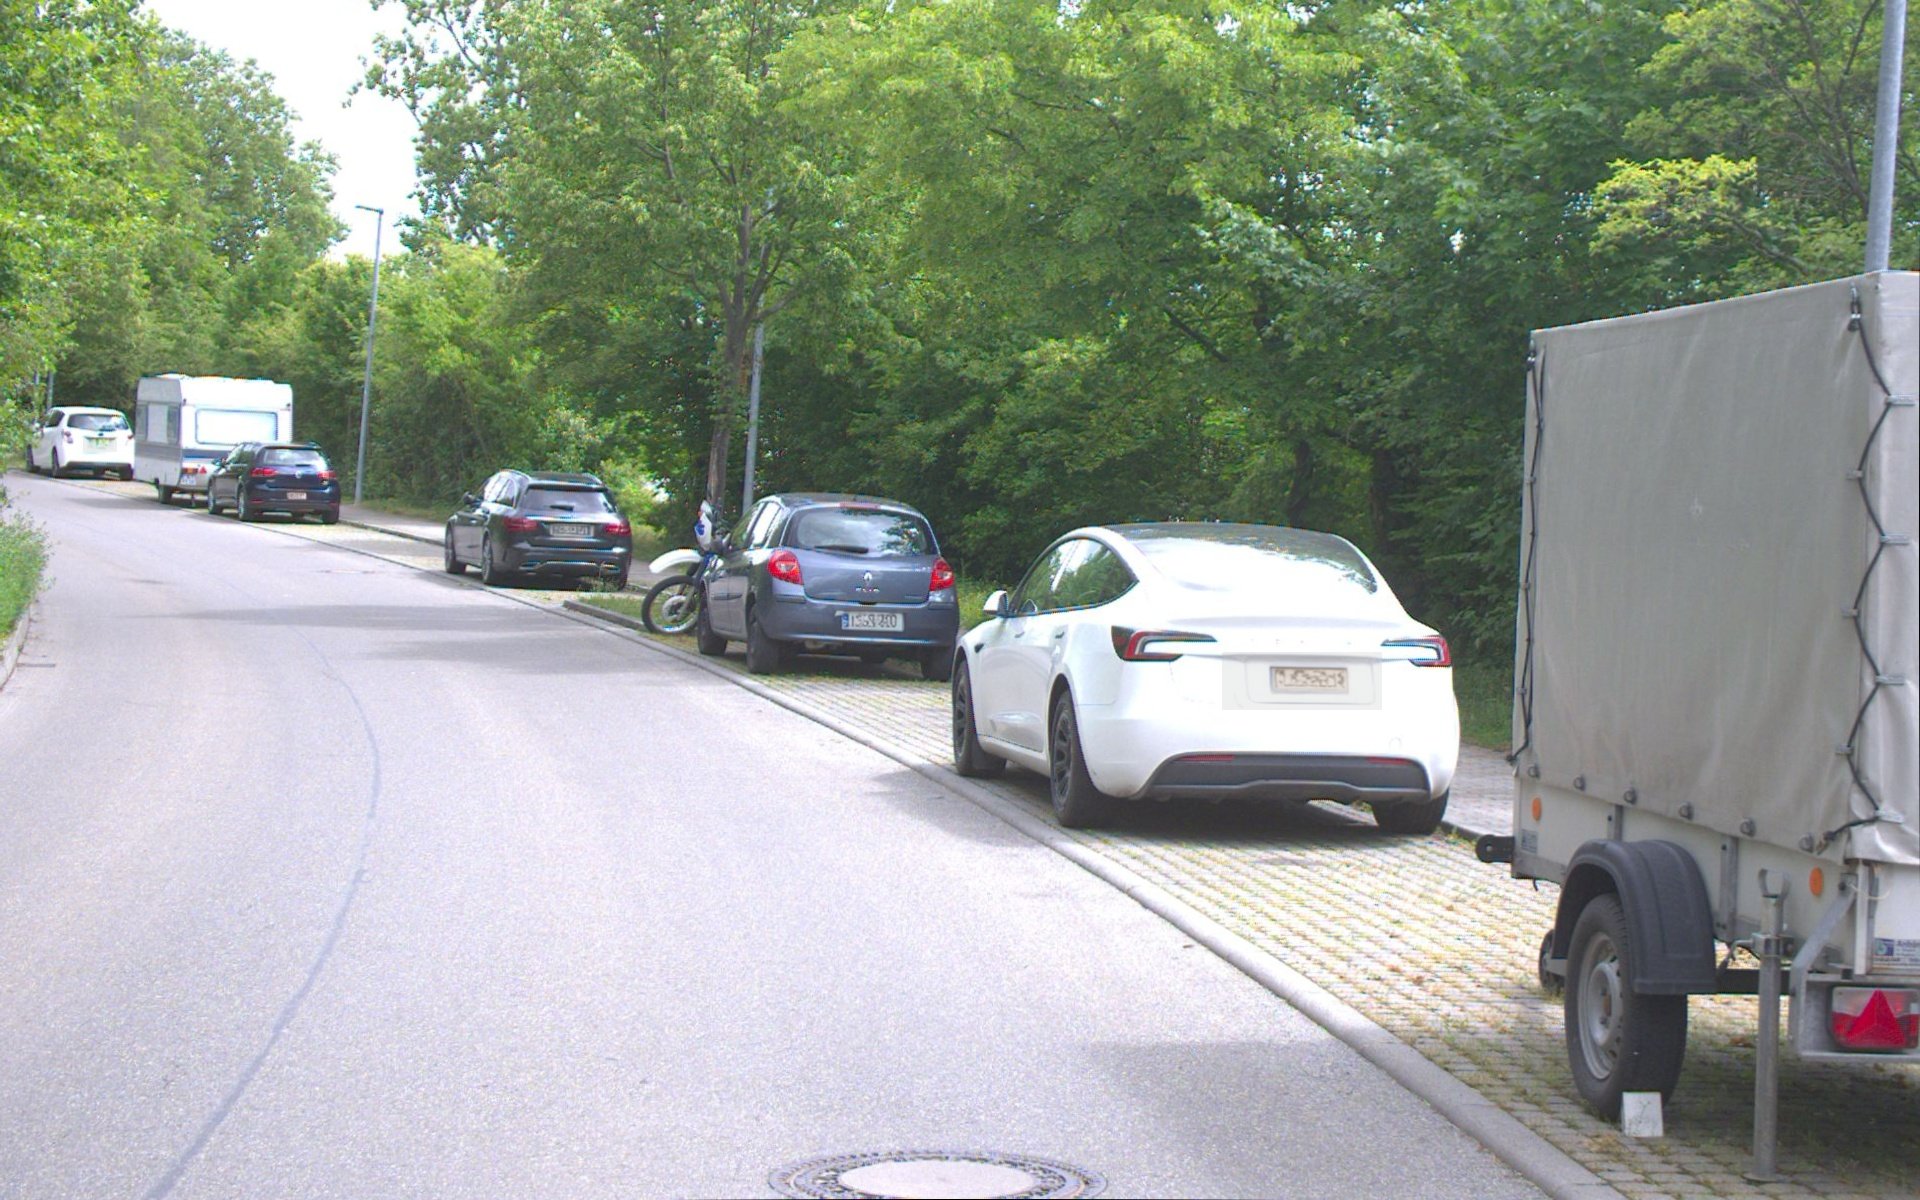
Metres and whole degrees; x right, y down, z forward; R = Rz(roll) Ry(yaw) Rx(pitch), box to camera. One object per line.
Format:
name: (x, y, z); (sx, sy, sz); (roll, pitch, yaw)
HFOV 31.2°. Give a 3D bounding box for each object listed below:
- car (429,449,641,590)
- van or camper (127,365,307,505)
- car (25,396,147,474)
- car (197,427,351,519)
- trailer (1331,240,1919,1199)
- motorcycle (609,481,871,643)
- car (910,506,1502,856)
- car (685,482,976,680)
car: (-5.551, -1.075, 44.430); (1.892, 1.524, 4.548); (3, 3, -17)
van or camper: (-14.721, -3.294, 67.853); (2.354, 2.544, 5.076); (1, 3, -25)
car: (-20.261, -3.837, 79.559); (1.804, 1.594, 4.373); (1, 4, -27)
car: (-12.536, -2.330, 62.653); (1.681, 1.446, 4.482); (2, 3, -25)
trailer: (2.296, 0.253, 9.241); (1.730, 2.071, 3.784); (1, 1, -7)
motorcycle: (-2.102, -0.383, 33.005); (2.306, 1.470, 0.975); (2, 2, 12)
car: (1.077, 0.305, 17.784); (1.862, 1.472, 4.904); (1, 2, -10)
car: (-1.187, -0.215, 29.364); (1.769, 1.512, 4.109); (2, 1, -12)
